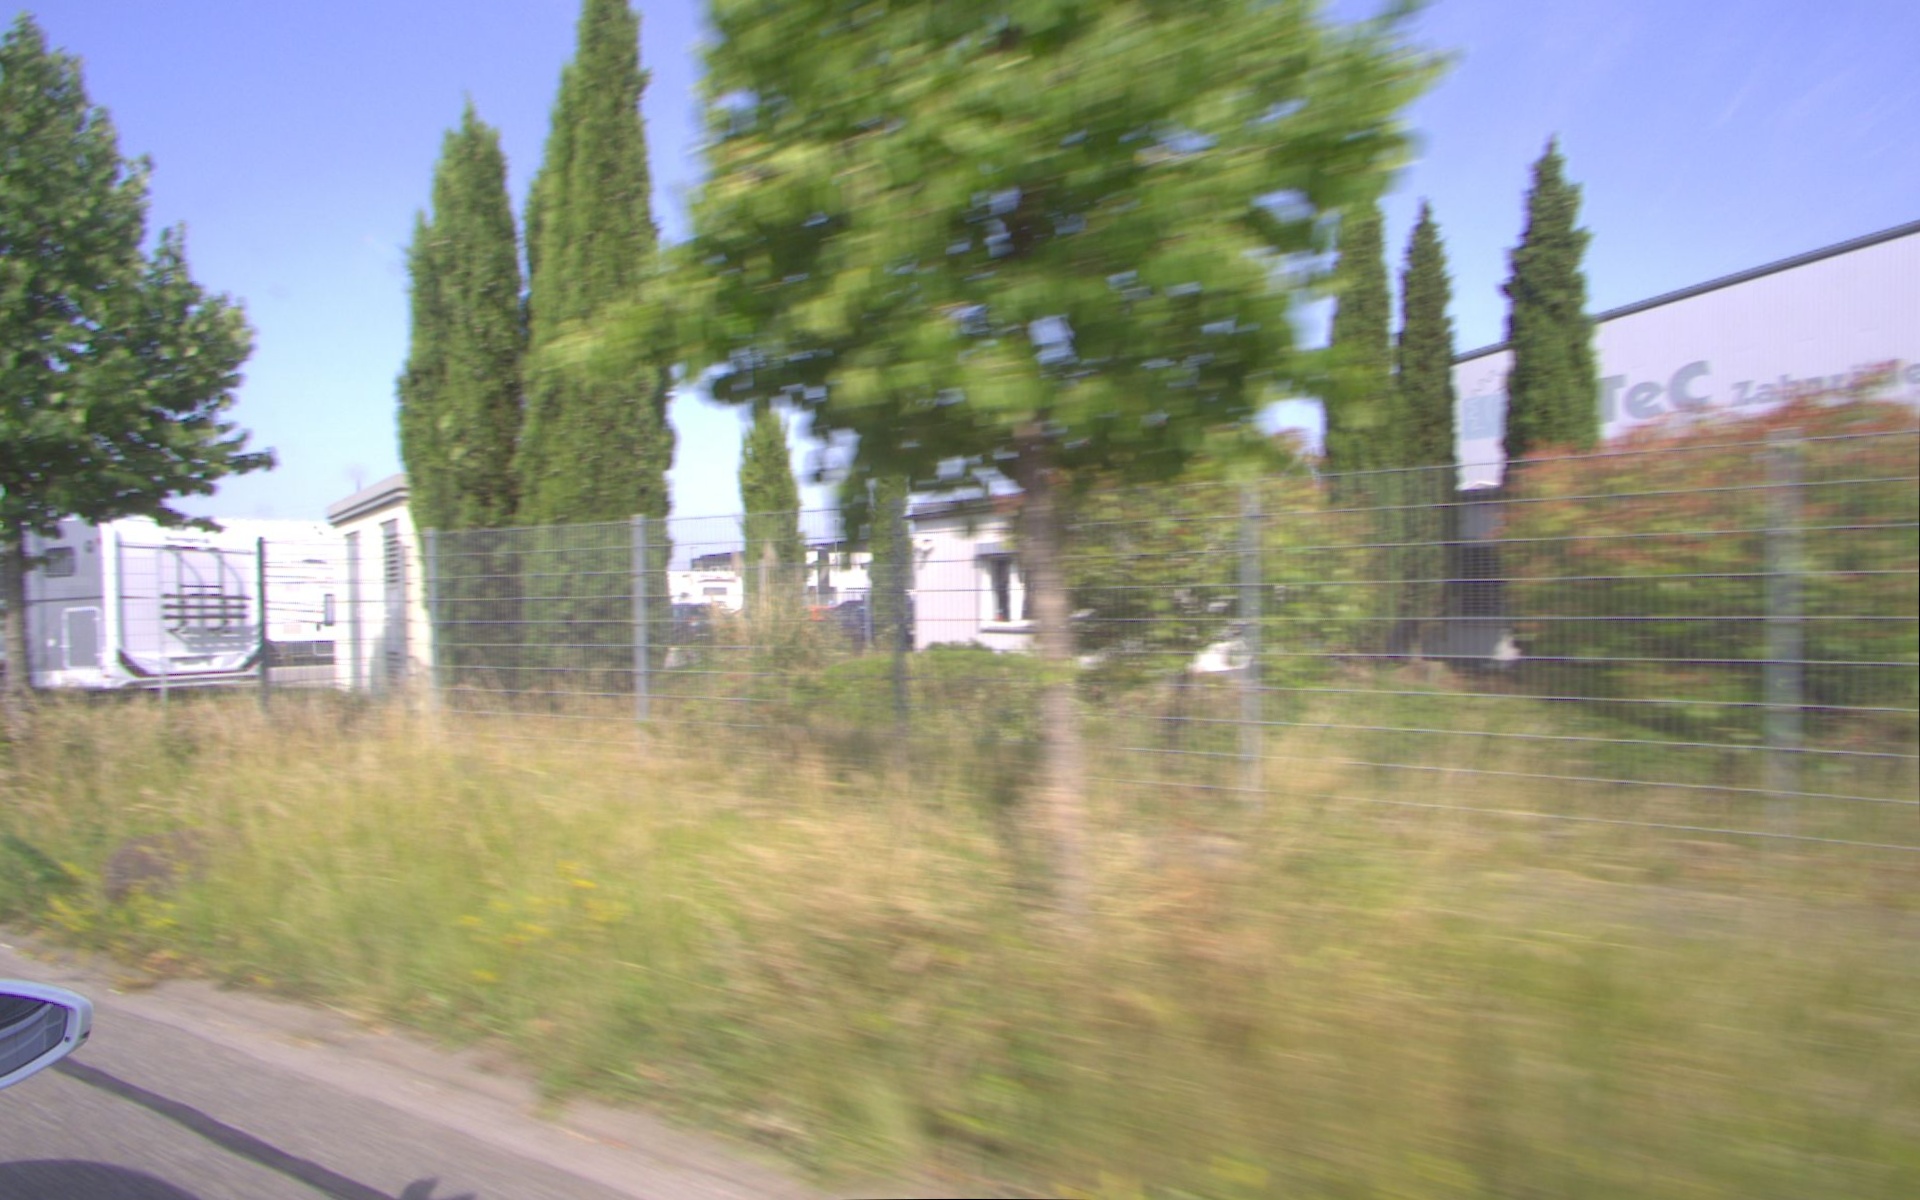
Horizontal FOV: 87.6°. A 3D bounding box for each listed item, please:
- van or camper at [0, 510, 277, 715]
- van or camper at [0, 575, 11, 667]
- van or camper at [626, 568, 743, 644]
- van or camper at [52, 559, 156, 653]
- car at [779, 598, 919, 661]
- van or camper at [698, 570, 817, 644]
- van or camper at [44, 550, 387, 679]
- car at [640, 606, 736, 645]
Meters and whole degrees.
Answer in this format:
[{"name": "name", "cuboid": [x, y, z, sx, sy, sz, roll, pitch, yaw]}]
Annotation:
[{"name": "van or camper", "cuboid": [-14.932, 0.204, 16.420, 7.213, 2.886, 2.352, 0, 0, 20]}, {"name": "van or camper", "cuboid": [-29.410, 0.570, 29.415, 1.979, 2.568, 6.093, -1, 1, -42]}, {"name": "van or camper", "cuboid": [-12.464, 0.273, 44.973, 2.465, 3.170, 6.551, -1, 0, -41]}, {"name": "van or camper", "cuboid": [-27.582, 0.184, 32.188, 2.304, 2.742, 6.548, -1, 0, -42]}, {"name": "car", "cuboid": [-3.079, 0.743, 27.370, 3.957, 1.500, 1.699, 2, 3, 45]}, {"name": "van or camper", "cuboid": [-9.492, 0.347, 46.469, 2.465, 3.170, 6.551, -1, 0, -41]}, {"name": "van or camper", "cuboid": [-20.069, 0.325, 27.388, 2.558, 3.072, 7.215, 0, 1, 44]}, {"name": "car", "cuboid": [-10.151, 0.931, 37.271, 3.958, 1.397, 1.700, 0, -1, 44]}]
